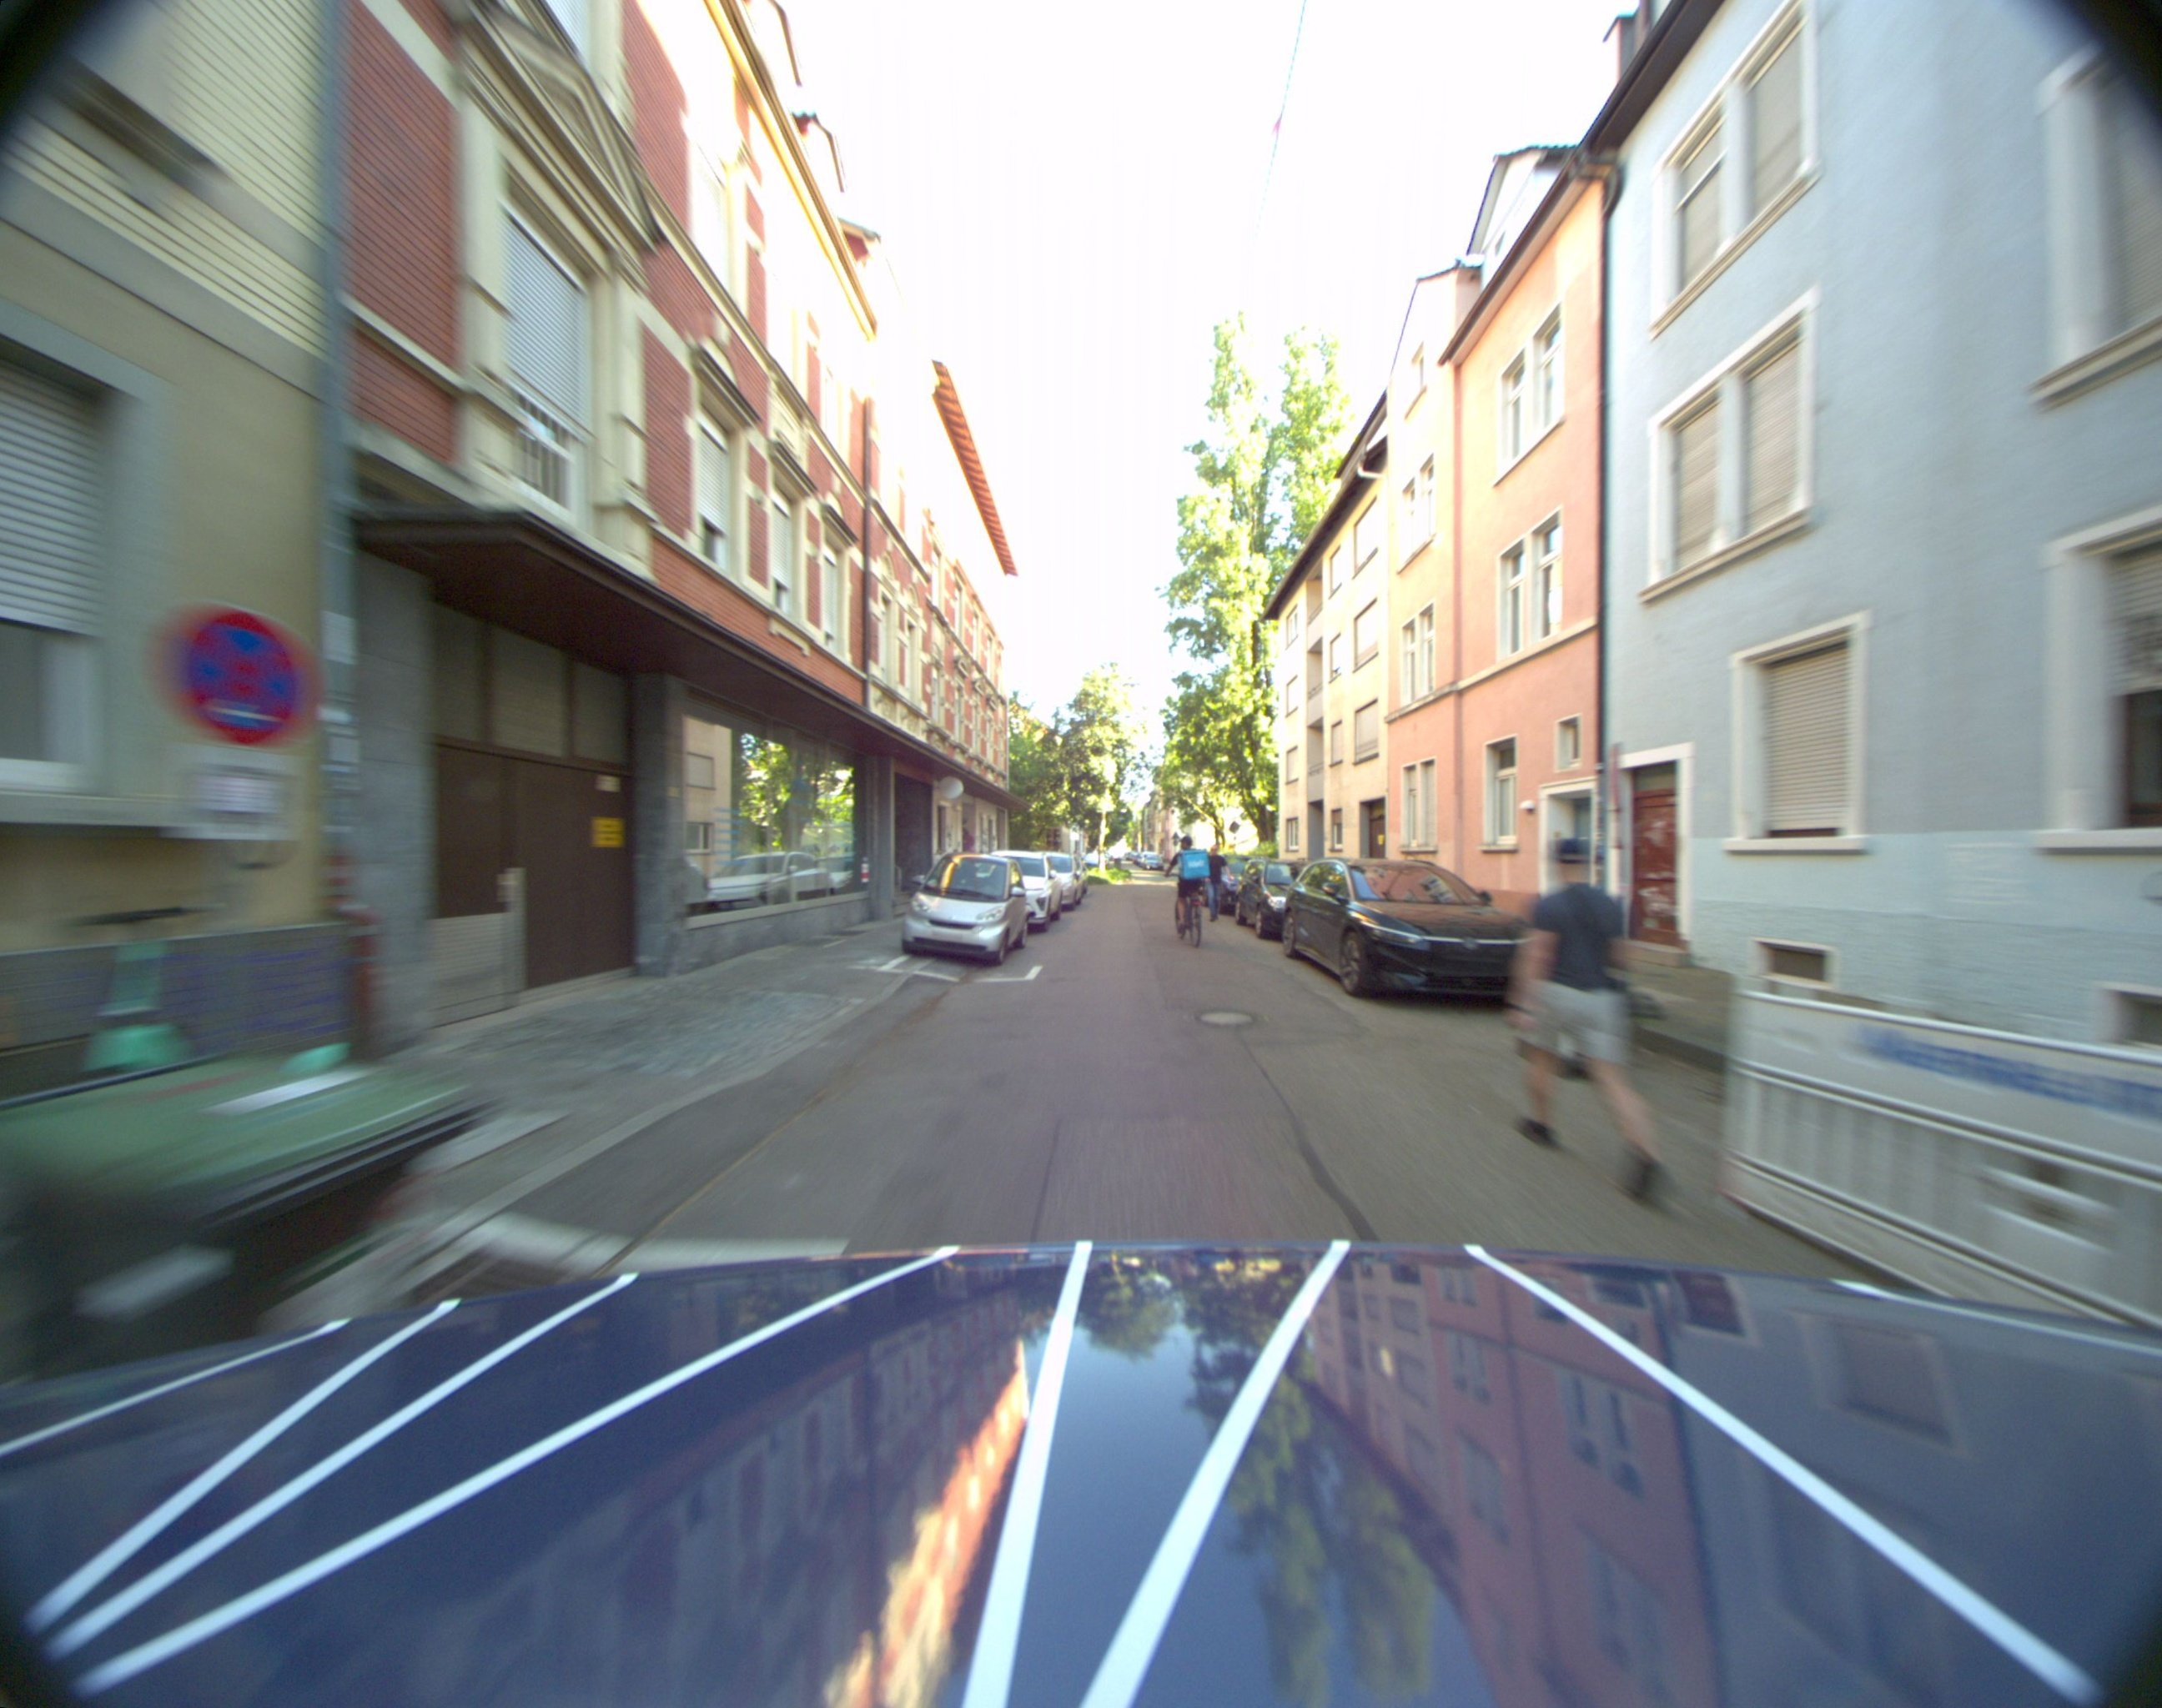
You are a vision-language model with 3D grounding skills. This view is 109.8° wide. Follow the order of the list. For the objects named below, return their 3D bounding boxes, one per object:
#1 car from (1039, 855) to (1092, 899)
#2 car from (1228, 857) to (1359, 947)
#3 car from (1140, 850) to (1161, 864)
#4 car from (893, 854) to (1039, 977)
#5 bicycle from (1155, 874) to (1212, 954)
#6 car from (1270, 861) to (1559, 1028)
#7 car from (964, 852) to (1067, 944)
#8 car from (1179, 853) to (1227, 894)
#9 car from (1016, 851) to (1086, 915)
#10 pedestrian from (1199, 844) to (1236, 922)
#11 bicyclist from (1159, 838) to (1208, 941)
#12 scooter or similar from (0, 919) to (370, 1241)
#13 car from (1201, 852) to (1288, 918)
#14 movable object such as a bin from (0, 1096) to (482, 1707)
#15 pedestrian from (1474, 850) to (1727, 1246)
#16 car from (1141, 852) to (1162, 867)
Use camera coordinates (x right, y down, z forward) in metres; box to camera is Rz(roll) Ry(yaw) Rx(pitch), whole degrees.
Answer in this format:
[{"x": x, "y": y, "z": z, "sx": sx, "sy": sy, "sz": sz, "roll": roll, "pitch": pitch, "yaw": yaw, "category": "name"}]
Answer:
[{"x": -0.520, "y": 0.793, "z": 28.449, "sx": 1.646, "sy": 1.442, "sz": 4.166, "roll": -2, "pitch": 0, "yaw": 3, "category": "car"}, {"x": 4.020, "y": 0.831, "z": 14.992, "sx": 1.646, "sy": 1.483, "sz": 4.000, "roll": 0, "pitch": 0, "yaw": 3, "category": "car"}, {"x": 7.737, "y": 0.272, "z": 84.800, "sx": 2.167, "sy": 1.509, "sz": 5.377, "roll": 0, "pitch": 0, "yaw": 4, "category": "car"}, {"x": -1.672, "y": 0.835, "z": 12.109, "sx": 1.525, "sy": 1.525, "sz": 3.464, "roll": 5, "pitch": 1, "yaw": 3, "category": "car"}, {"x": 1.694, "y": 0.963, "z": 12.802, "sx": 0.688, "sy": 1.151, "sz": 1.846, "roll": 1, "pitch": 1, "yaw": 0, "category": "bicycle"}, {"x": 3.759, "y": 0.878, "z": 9.592, "sx": 1.771, "sy": 1.500, "sz": 4.697, "roll": 0, "pitch": 1, "yaw": 3, "category": "car"}, {"x": -1.282, "y": 0.835, "z": 16.494, "sx": 1.603, "sy": 1.652, "sz": 4.060, "roll": -3, "pitch": 0, "yaw": 3, "category": "car"}, {"x": 4.764, "y": 0.724, "z": 30.041, "sx": 1.464, "sy": 1.512, "sz": 3.661, "roll": 0, "pitch": 0, "yaw": 3, "category": "car"}, {"x": -0.784, "y": 0.763, "z": 21.976, "sx": 1.603, "sy": 1.626, "sz": 3.775, "roll": -3, "pitch": 0, "yaw": 3, "category": "car"}, {"x": 3.125, "y": 0.650, "z": 17.469, "sx": 0.740, "sy": 1.743, "sz": 0.998, "roll": 0, "pitch": 1, "yaw": 4, "category": "pedestrian"}, {"x": 1.710, "y": 0.570, "z": 12.773, "sx": 0.666, "sy": 1.668, "sz": 0.893, "roll": 1, "pitch": 1, "yaw": 0, "category": "bicyclist"}, {"x": -4.433, "y": 0.965, "z": 3.758, "sx": 0.389, "sy": 1.137, "sz": 1.444, "roll": 3, "pitch": 1, "yaw": 2, "category": "scooter or similar"}, {"x": 4.342, "y": 0.754, "z": 20.745, "sx": 1.646, "sy": 1.565, "sz": 4.249, "roll": 0, "pitch": 1, "yaw": 3, "category": "car"}, {"x": -1.903, "y": 1.150, "z": 1.591, "sx": 0.742, "sy": 1.051, "sz": 0.687, "roll": 0, "pitch": 1, "yaw": 3, "category": "movable object such as a bin"}, {"x": 2.367, "y": 0.806, "z": 3.568, "sx": 0.594, "sy": 1.634, "sz": 0.813, "roll": 1, "pitch": 1, "yaw": 2, "category": "pedestrian"}, {"x": 6.487, "y": 0.517, "z": 70.090, "sx": 1.759, "sy": 1.293, "sz": 4.249, "roll": 0, "pitch": 1, "yaw": 3, "category": "car"}]
